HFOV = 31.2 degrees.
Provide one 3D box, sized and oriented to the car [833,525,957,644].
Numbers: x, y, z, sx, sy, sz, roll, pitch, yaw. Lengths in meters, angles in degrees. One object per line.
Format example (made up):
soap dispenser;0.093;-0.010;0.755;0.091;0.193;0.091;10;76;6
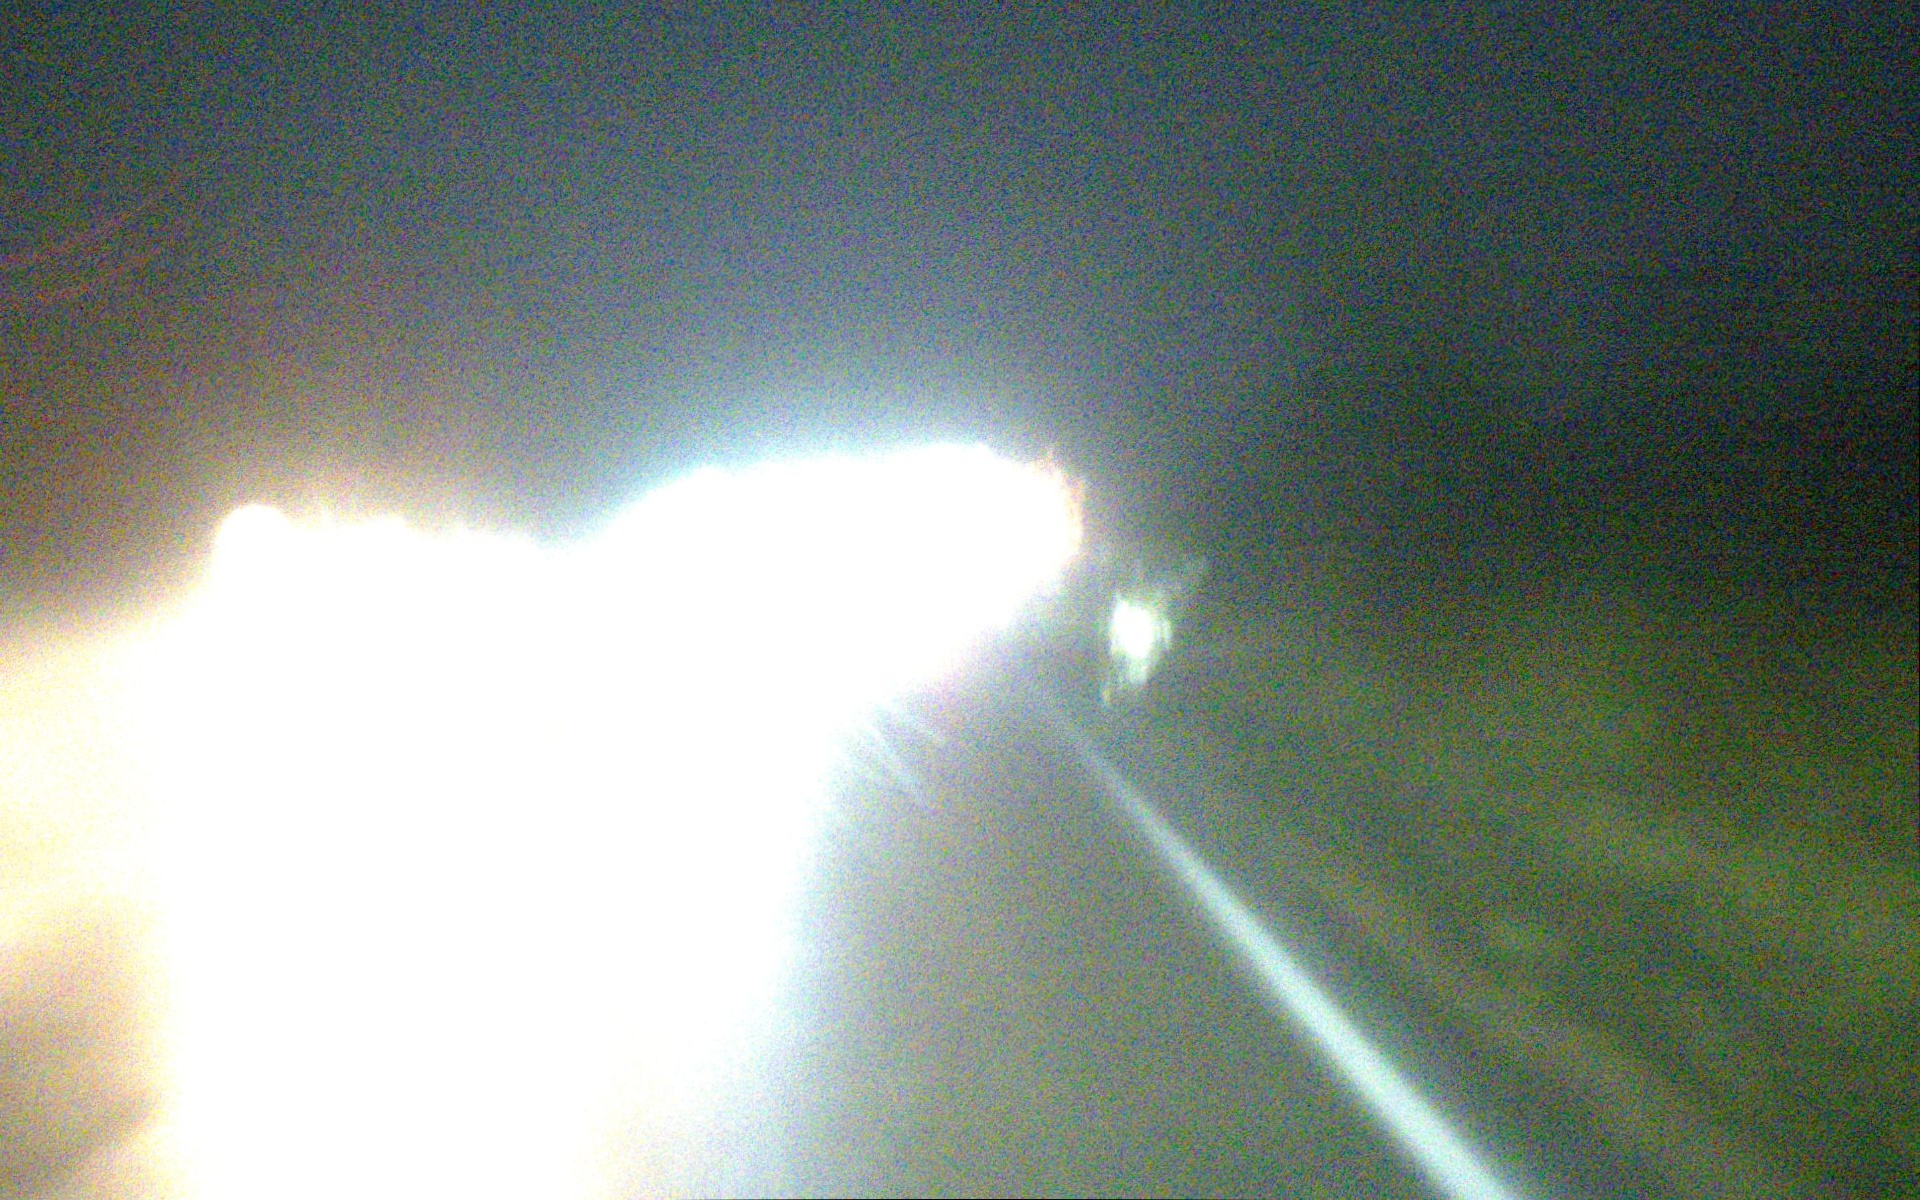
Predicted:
car;-1.079;-0.281;55.078;1.842;1.734;4.001;2;2;-2

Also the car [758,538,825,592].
car;-4.545;-0.937;93.019;1.596;1.397;3.470;1;0;0

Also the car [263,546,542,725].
car;-4.841;0.278;30.351;1.819;1.436;4.000;1;0;-1

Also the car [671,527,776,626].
car;-4.800;-0.480;70.287;1.803;1.921;4.000;1;0;1
